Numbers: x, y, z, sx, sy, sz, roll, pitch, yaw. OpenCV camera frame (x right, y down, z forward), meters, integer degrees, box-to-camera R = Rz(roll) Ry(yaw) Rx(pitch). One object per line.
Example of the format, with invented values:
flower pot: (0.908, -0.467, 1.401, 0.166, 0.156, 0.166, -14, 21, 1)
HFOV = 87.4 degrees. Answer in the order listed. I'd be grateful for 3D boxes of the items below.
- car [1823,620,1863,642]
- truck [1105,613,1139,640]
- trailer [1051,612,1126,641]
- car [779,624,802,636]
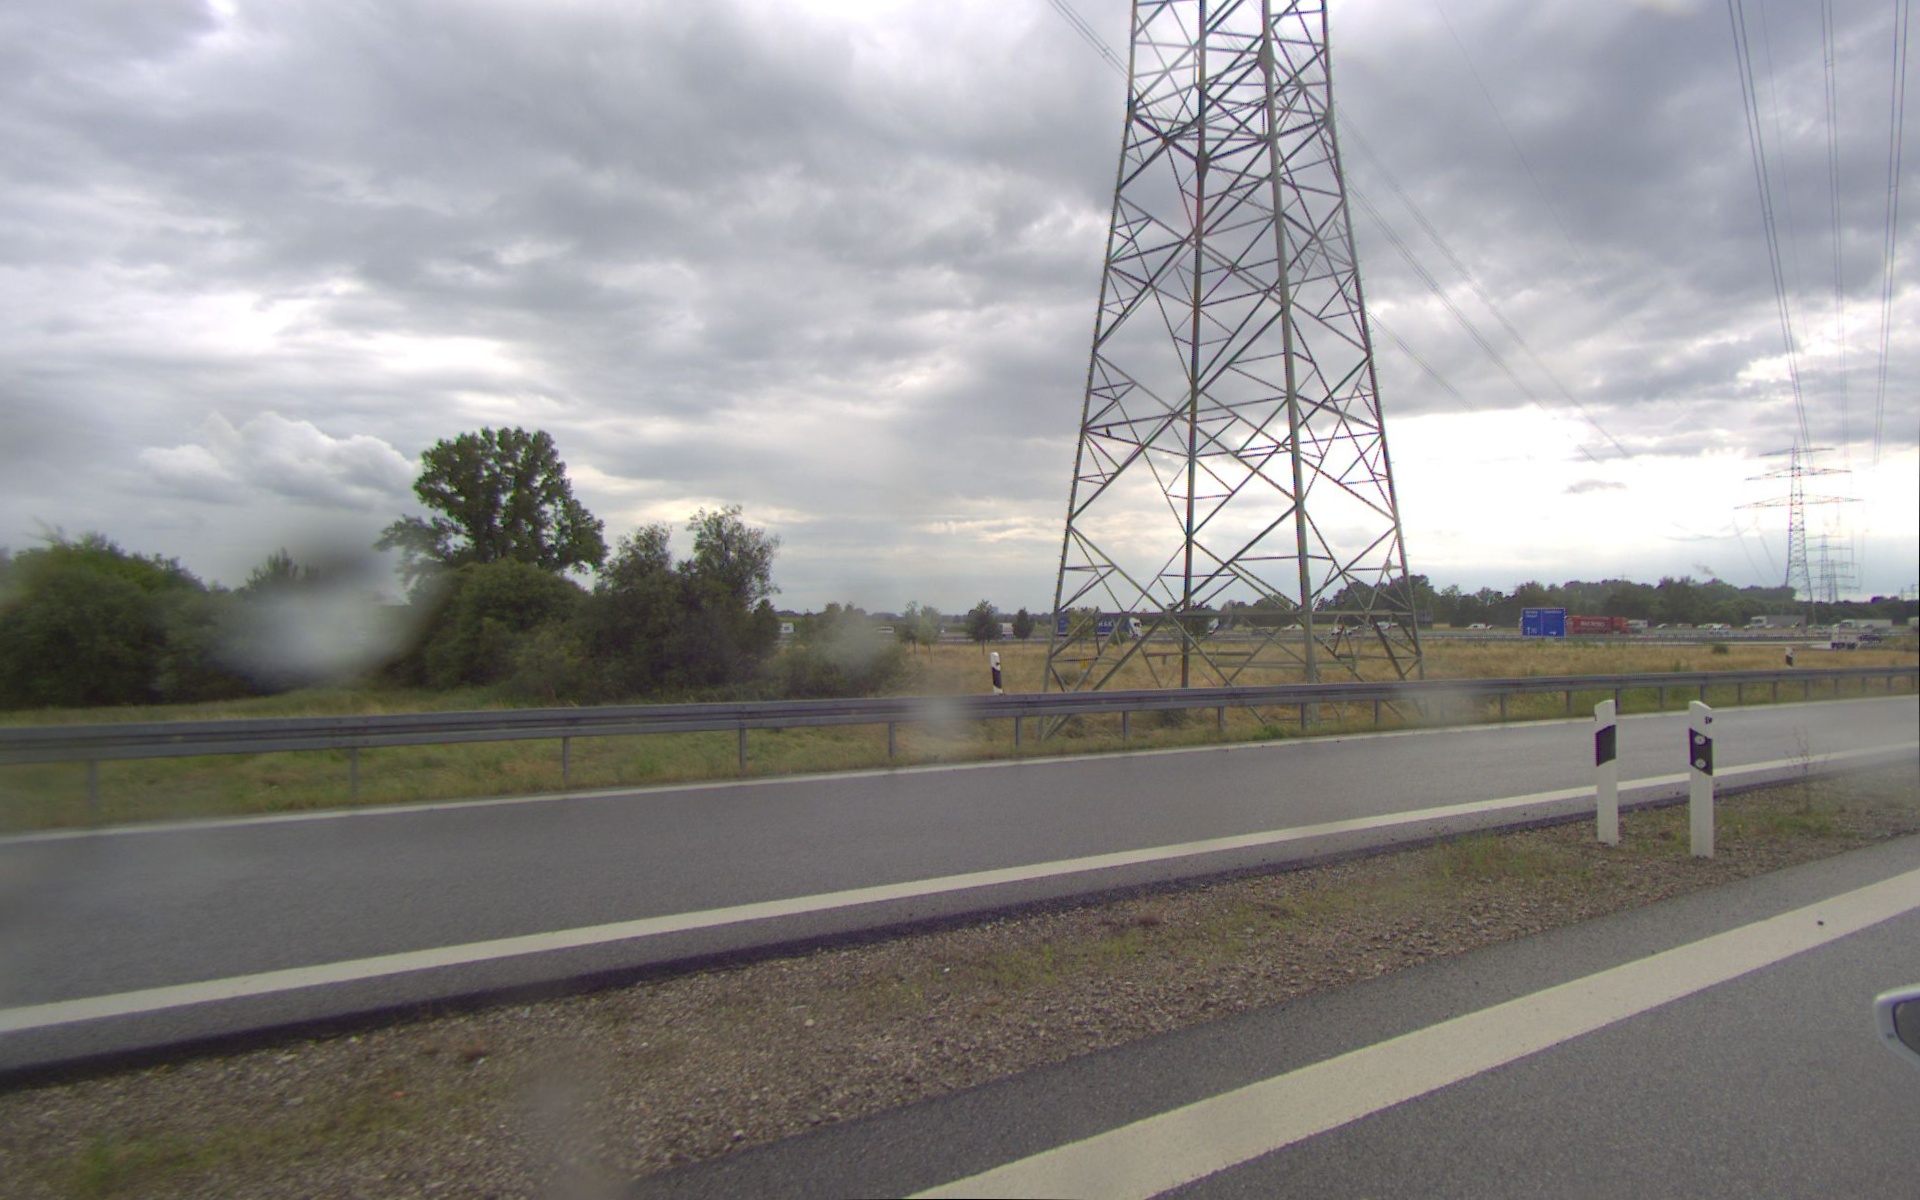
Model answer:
car: (146.598, 5.145, 166.927, 3.335, 3.658, 9.026, -1, -2, 31)
truck: (28.843, 4.633, 178.895, 4.994, 4.539, 3.065, -2, 0, -19)
trailer: (22.674, 4.586, 176.653, 13.096, 4.697, 3.044, -2, 0, -20)
car: (-31.671, 5.585, 187.717, 3.932, 2.040, 1.994, -2, 0, -14)
